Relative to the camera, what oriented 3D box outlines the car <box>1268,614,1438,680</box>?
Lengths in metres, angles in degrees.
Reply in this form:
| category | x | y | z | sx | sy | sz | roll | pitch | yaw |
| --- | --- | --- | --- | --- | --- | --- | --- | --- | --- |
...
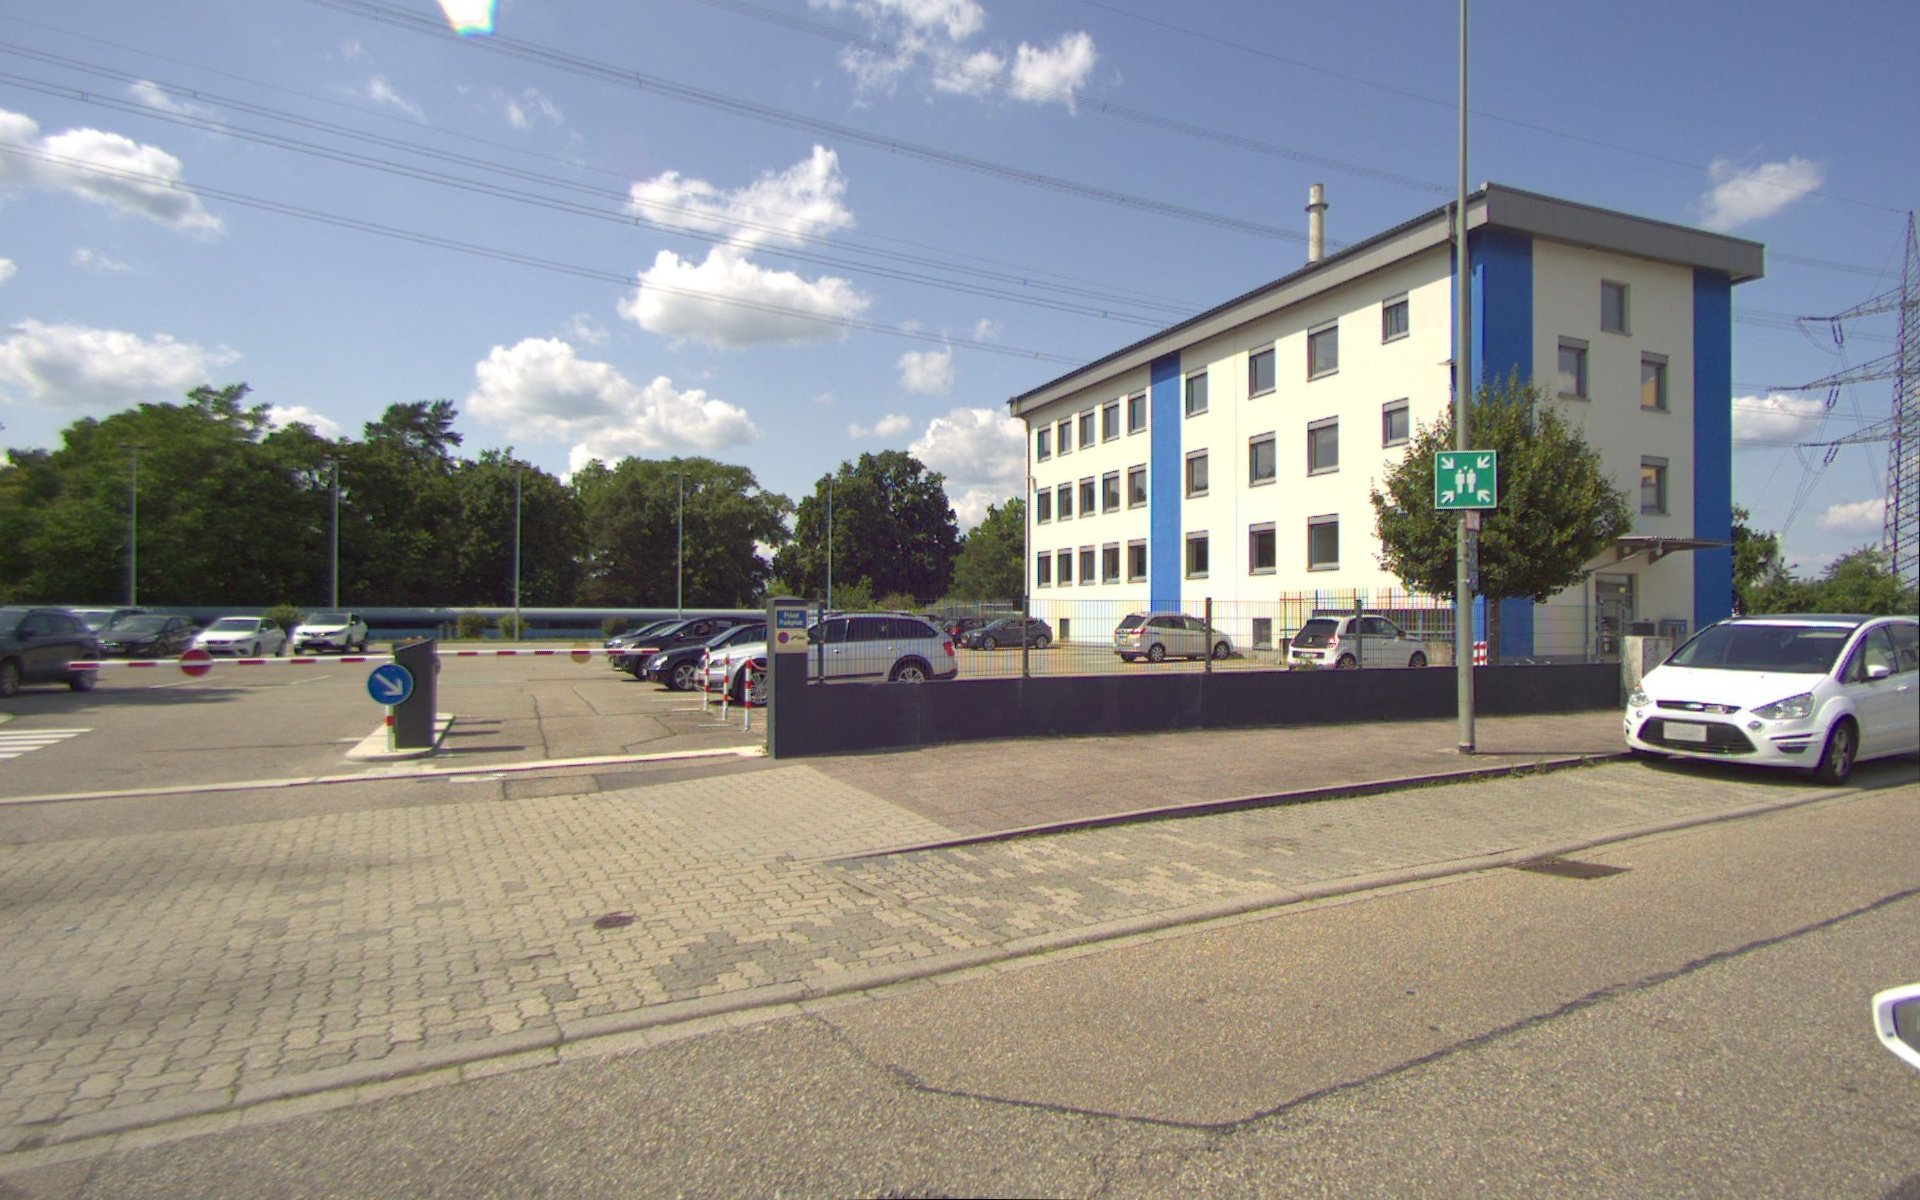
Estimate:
| category | x | y | z | sx | sy | sz | roll | pitch | yaw |
| --- | --- | --- | --- | --- | --- | --- | --- | --- | --- |
| car | 9.728 | 1.133 | 24.879 | 3.705 | 1.527 | 1.868 | 1 | -1 | -24 |

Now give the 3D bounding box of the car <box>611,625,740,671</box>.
| category | x | y | z | sx | sy | sz | roll | pitch | yaw |
| --- | --- | --- | --- | --- | --- | --- | --- | --- | --- |
| car | -8.716 | 1.436 | 30.789 | 3.702 | 1.339 | 1.535 | 0 | -1 | -19 |

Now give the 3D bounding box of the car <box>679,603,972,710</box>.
| category | x | y | z | sx | sy | sz | roll | pitch | yaw |
| --- | --- | --- | --- | --- | --- | --- | --- | --- | --- |
| car | -2.308 | 0.935 | 17.587 | 4.782 | 1.658 | 1.818 | 1 | -2 | -27 |

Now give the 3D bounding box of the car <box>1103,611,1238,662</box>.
| category | x | y | z | sx | sy | sz | roll | pitch | yaw |
| --- | --- | --- | --- | --- | --- | --- | --- | --- | --- |
| car | 7.285 | 1.237 | 34.779 | 4.384 | 1.677 | 1.819 | 1 | -2 | -25 |

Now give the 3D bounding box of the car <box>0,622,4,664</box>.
| category | x | y | z | sx | sy | sz | roll | pitch | yaw |
| --- | --- | --- | --- | --- | --- | --- | --- | --- | --- |
| car | -31.342 | 1.357 | 30.946 | 1.623 | 1.381 | 3.973 | 0 | -1 | -26 |

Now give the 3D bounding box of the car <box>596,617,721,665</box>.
| category | x | y | z | sx | sy | sz | roll | pitch | yaw |
| --- | --- | --- | --- | --- | --- | --- | --- | --- | --- |
| car | -10.719 | 1.415 | 35.819 | 3.964 | 1.639 | 1.635 | 1 | -1 | -38 |

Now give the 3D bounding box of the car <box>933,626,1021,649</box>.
| category | x | y | z | sx | sy | sz | roll | pitch | yaw |
| --- | --- | --- | --- | --- | --- | --- | --- | --- | --- |
| car | 0.833 | 1.784 | 48.013 | 3.850 | 1.090 | 1.761 | 1 | -2 | -25 |

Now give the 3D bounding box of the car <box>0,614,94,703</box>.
| category | x | y | z | sx | sy | sz | roll | pitch | yaw |
| --- | --- | --- | --- | --- | --- | --- | --- | --- | --- |
| car | -18.021 | 1.045 | 18.752 | 1.658 | 1.522 | 4.188 | 1 | -2 | -24 |

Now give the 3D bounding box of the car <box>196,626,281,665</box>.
| category | x | y | z | sx | sy | sz | roll | pitch | yaw |
| --- | --- | --- | --- | --- | --- | --- | --- | --- | --- |
| car | -24.285 | 1.501 | 33.918 | 1.658 | 1.246 | 3.303 | 1 | -2 | -24 |

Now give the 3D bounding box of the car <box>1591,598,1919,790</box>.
| category | x | y | z | sx | sy | sz | roll | pitch | yaw |
| --- | --- | --- | --- | --- | --- | --- | --- | --- | --- |
| car | 9.197 | 0.877 | 11.062 | 4.697 | 1.731 | 1.858 | 1 | 0 | -30 |

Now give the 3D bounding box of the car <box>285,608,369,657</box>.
| category | x | y | z | sx | sy | sz | roll | pitch | yaw |
| --- | --- | --- | --- | --- | --- | --- | --- | --- | --- |
| car | -24.497 | 1.248 | 39.010 | 1.958 | 1.808 | 3.764 | 0 | -1 | -19 |

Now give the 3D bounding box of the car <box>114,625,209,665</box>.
| category | x | y | z | sx | sy | sz | roll | pitch | yaw |
| --- | --- | --- | --- | --- | --- | --- | --- | --- | --- |
| car | -26.244 | 1.446 | 33.105 | 1.658 | 1.246 | 3.303 | 1 | -2 | -24 |

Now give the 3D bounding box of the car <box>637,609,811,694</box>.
| category | x | y | z | sx | sy | sz | roll | pitch | yaw |
| --- | --- | --- | --- | --- | --- | --- | --- | --- | --- |
| car | -5.182 | 1.083 | 22.014 | 3.431 | 1.731 | 1.868 | 1 | -1 | -24 |

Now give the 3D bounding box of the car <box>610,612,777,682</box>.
| category | x | y | z | sx | sy | sz | roll | pitch | yaw |
| --- | --- | --- | --- | --- | --- | --- | --- | --- | --- |
| car | -7.034 | 1.194 | 26.496 | 4.012 | 1.731 | 1.867 | 1 | -1 | -25 |

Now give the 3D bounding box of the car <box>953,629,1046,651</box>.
| category | x | y | z | sx | sy | sz | roll | pitch | yaw |
| --- | --- | --- | --- | --- | --- | --- | --- | --- | --- |
| car | 1.787 | 1.802 | 45.580 | 3.847 | 0.981 | 1.763 | 1 | -2 | -23 |
